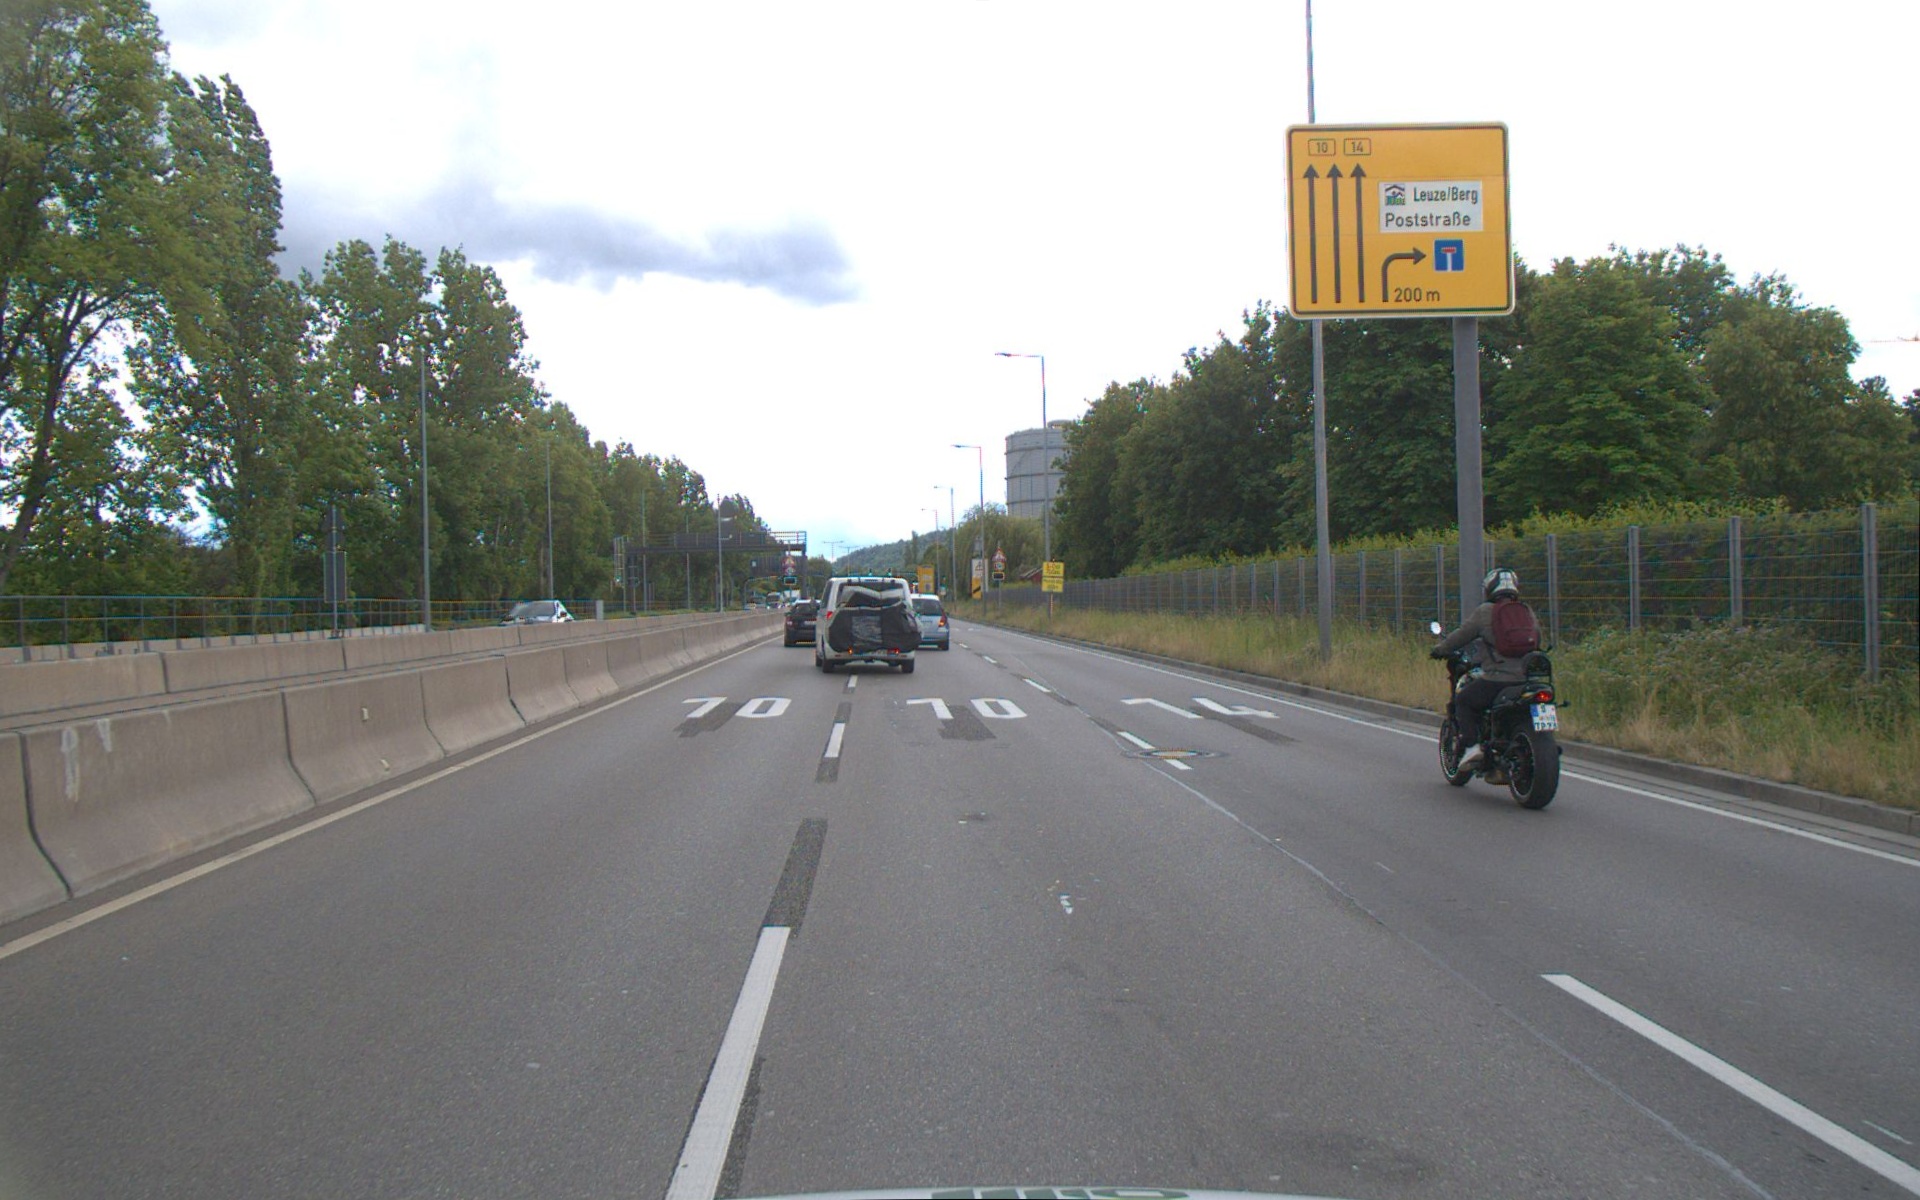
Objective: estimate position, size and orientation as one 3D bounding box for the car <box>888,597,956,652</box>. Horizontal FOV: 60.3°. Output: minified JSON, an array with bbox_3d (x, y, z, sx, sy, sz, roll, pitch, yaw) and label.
[{"bbox_3d":[-1.105,0.682,48.105,1.882,1.515,4.064,-1,0,-1],"label":"car"}]

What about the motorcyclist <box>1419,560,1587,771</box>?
[{"bbox_3d":[4.040,0.469,12.373,0.894,1.502,0.966,0,0,-3],"label":"motorcyclist"}]

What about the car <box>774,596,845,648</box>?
[{"bbox_3d":[-4.595,0.643,50.926,1.778,1.459,4.065,-2,0,0],"label":"car"}]

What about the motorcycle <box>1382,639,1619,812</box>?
[{"bbox_3d":[4.027,0.884,12.599,0.729,1.102,2.662,-1,0,-5],"label":"motorcycle"}]

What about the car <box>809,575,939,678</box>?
[{"bbox_3d":[-1.868,0.491,33.844,1.957,1.891,5.627,1,0,-10],"label":"car"}]

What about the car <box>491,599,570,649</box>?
[{"bbox_3d":[-12.590,0.674,48.692,1.699,1.398,3.612,-1,0,-6],"label":"car"}]
